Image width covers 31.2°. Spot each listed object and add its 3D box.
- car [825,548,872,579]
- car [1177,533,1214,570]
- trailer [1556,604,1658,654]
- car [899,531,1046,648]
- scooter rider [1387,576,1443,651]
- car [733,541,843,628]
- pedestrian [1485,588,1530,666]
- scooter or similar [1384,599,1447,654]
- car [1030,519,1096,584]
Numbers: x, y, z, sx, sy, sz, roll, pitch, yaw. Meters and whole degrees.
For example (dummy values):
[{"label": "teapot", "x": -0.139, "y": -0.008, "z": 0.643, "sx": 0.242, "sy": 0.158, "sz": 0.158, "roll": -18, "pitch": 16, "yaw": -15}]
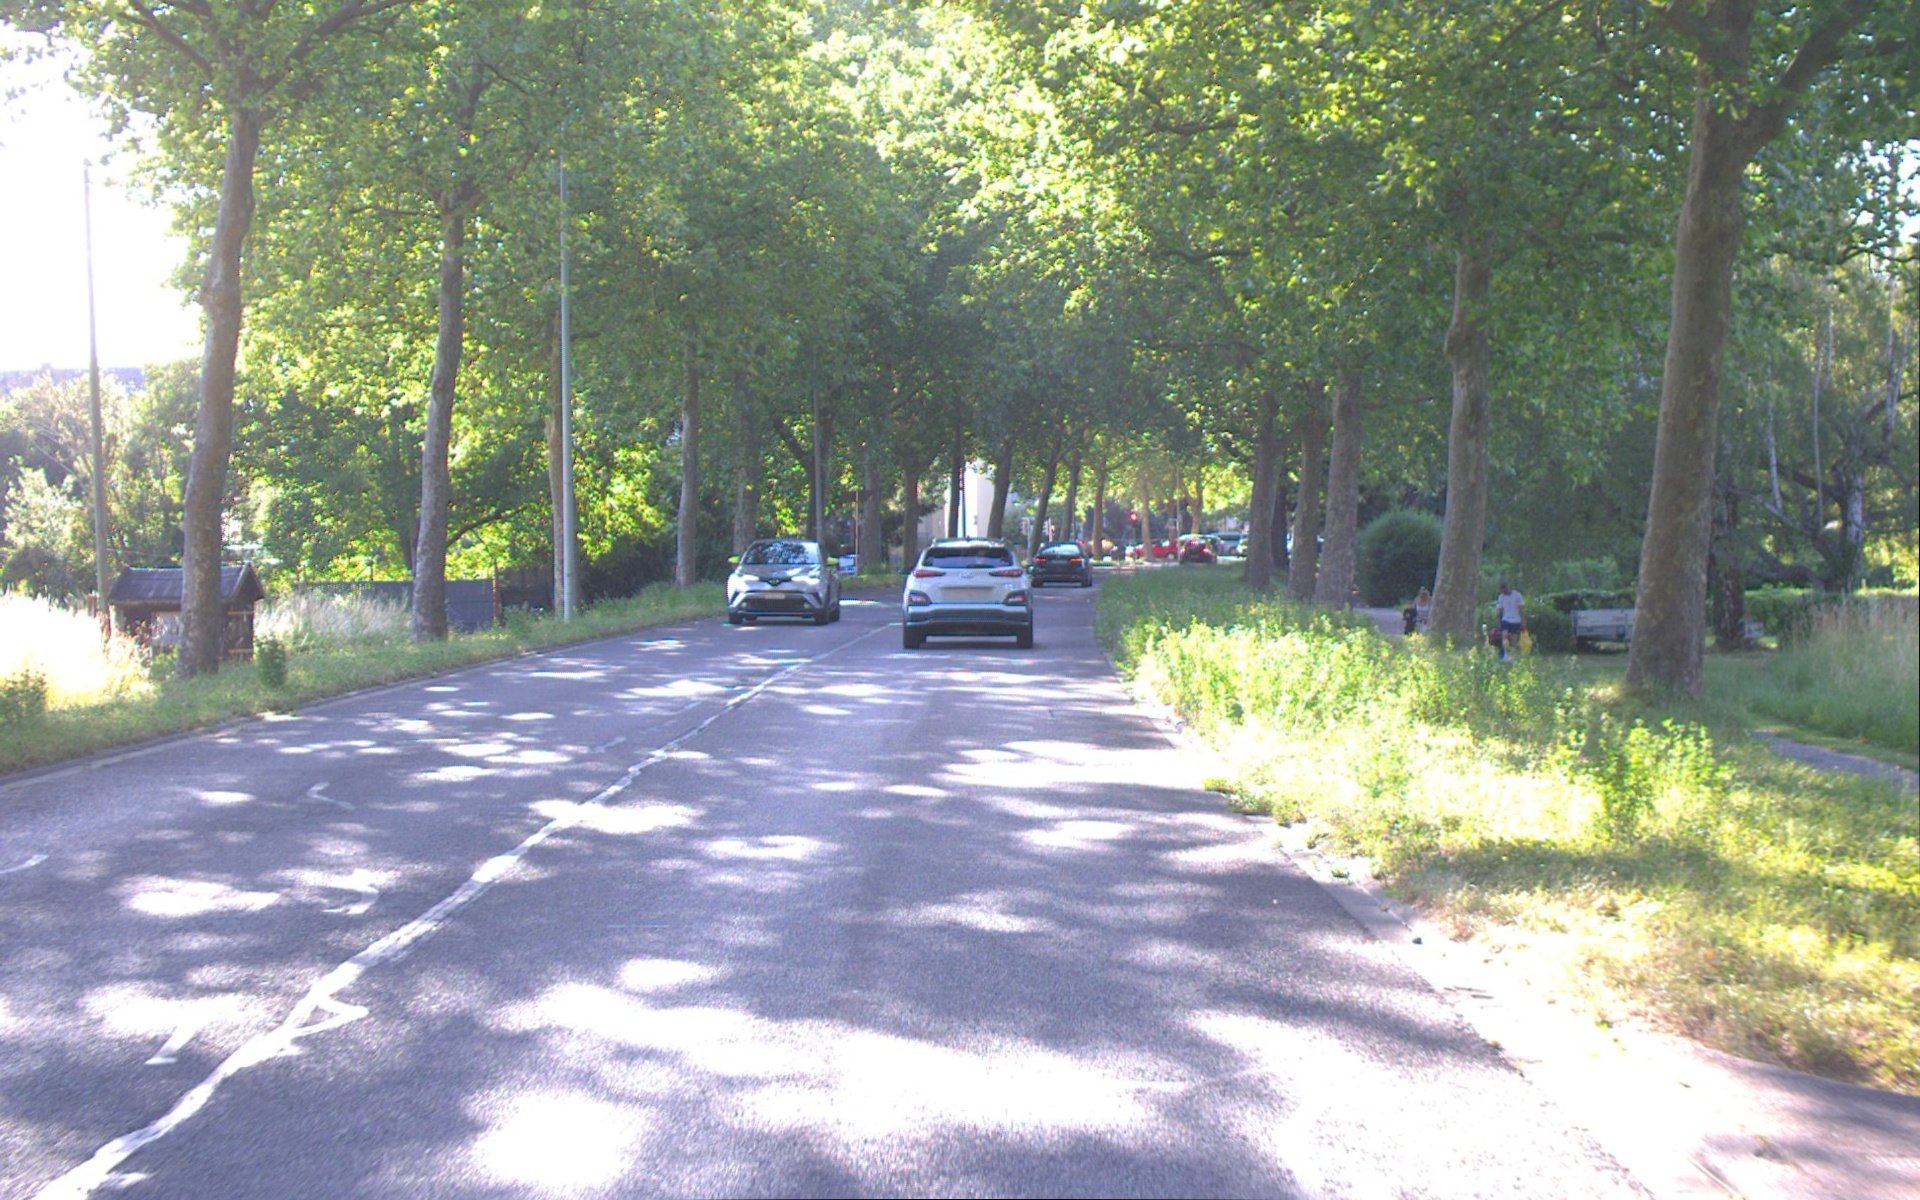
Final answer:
[{"label": "car", "x": -5.116, "y": -1.677, "z": 158.038, "sx": 1.752, "sy": 1.300, "sz": 4.000, "roll": -1, "pitch": 2, "yaw": 3}, {"label": "car", "x": 13.189, "y": -2.683, "z": 192.084, "sx": 1.994, "sy": 2.007, "sz": 3.999, "roll": 1, "pitch": 0, "yaw": 4}, {"label": "trailer", "x": 14.185, "y": 0.634, "z": 75.439, "sx": 2.118, "sy": 1.049, "sz": 1.200, "roll": 1, "pitch": 0, "yaw": 7}, {"label": "car", "x": 0.202, "y": -0.165, "z": 49.141, "sx": 1.993, "sy": 1.569, "sz": 4.000, "roll": 1, "pitch": 1, "yaw": 1}, {"label": "scooter rider", "x": 9.593, "y": 0.286, "z": 72.430, "sx": 0.842, "sy": 1.571, "sz": 0.784, "roll": 0, "pitch": 0, "yaw": -40}, {"label": "car", "x": -3.098, "y": -0.288, "z": 62.486, "sx": 1.715, "sy": 1.500, "sz": 4.000, "roll": 1, "pitch": 0, "yaw": 1}, {"label": "pedestrian", "x": 11.103, "y": 0.540, "z": 69.712, "sx": 0.842, "sy": 1.571, "sz": 1.206, "roll": 1, "pitch": 0, "yaw": 11}, {"label": "scooter or similar", "x": 9.588, "y": 0.552, "z": 72.327, "sx": 1.595, "sy": 1.131, "sz": 0.341, "roll": 0, "pitch": 0, "yaw": -42}, {"label": "car", "x": 3.277, "y": -1.525, "z": 108.799, "sx": 1.994, "sy": 2.007, "sz": 4.000, "roll": 1, "pitch": 0, "yaw": 2}]
